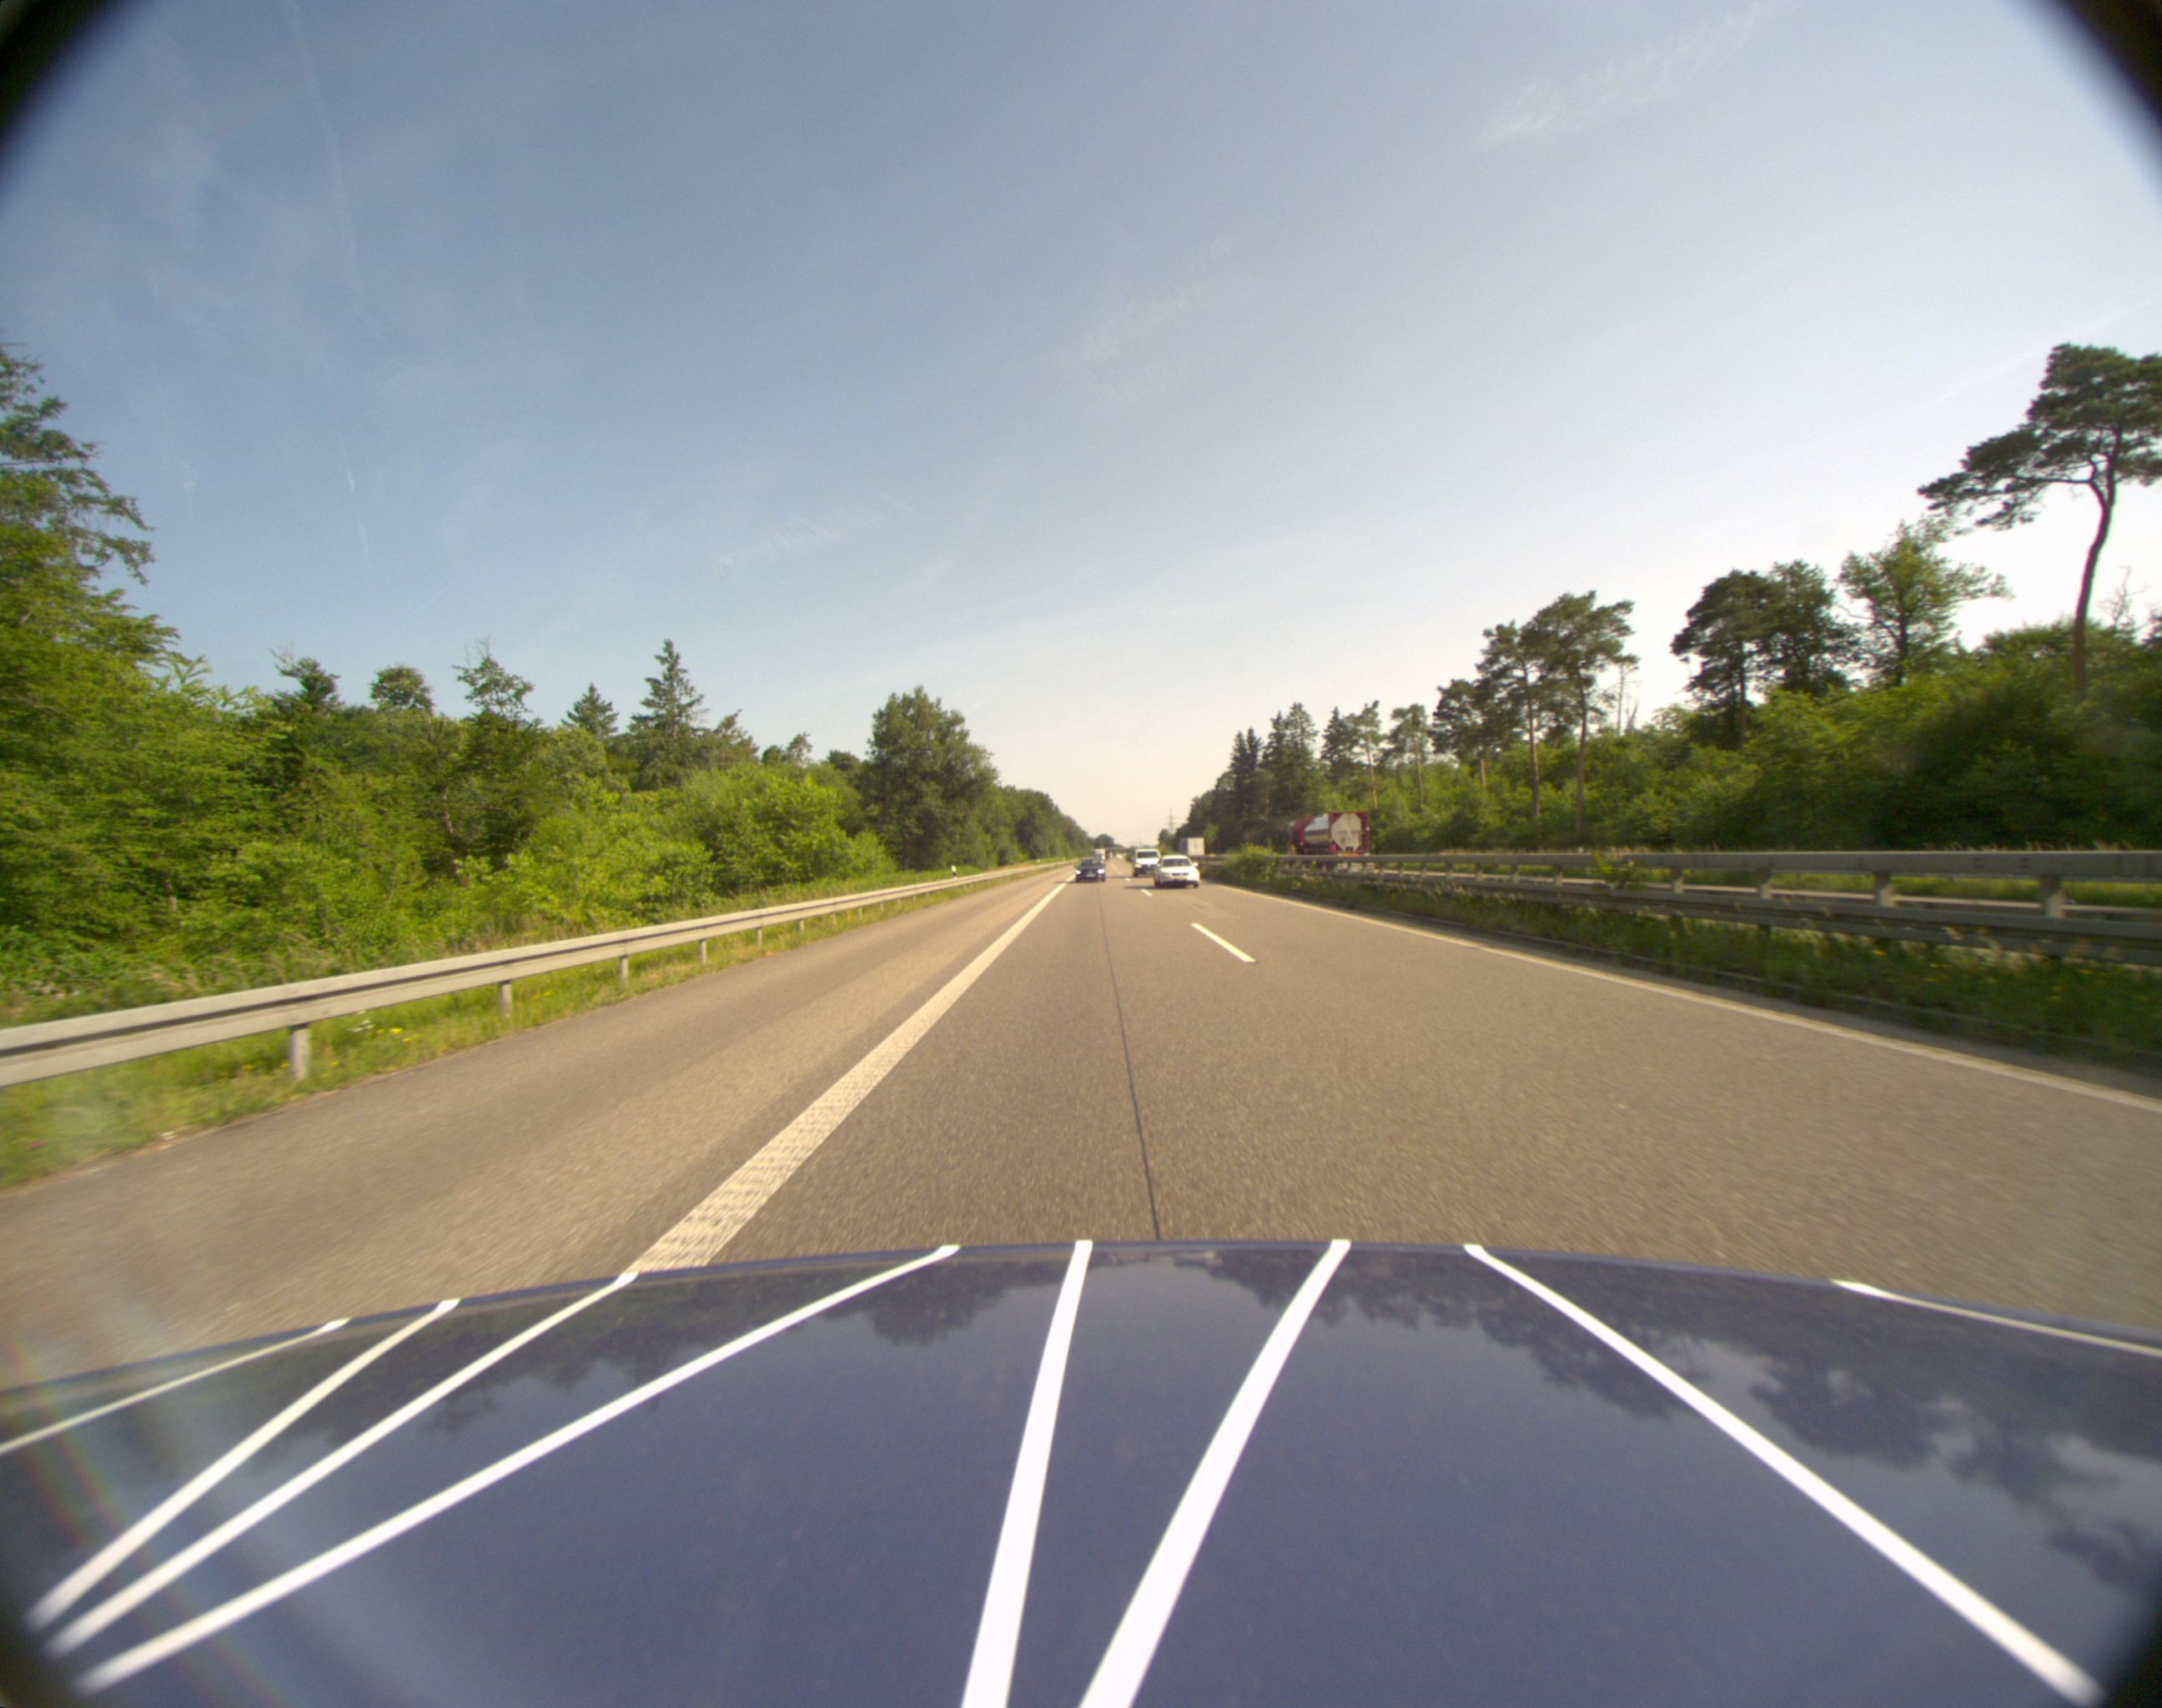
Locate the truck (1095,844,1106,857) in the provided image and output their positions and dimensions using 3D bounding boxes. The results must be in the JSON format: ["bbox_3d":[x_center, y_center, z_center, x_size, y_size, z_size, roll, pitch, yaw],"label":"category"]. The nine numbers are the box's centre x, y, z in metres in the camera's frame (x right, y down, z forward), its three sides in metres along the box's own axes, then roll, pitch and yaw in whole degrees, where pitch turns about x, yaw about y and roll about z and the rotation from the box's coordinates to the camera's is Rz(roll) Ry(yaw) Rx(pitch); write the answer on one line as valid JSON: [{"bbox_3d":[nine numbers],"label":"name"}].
[{"bbox_3d":[4.759,-0.821,186.385,2.694,3.020,10.372,-2,0,1],"label":"truck"}]

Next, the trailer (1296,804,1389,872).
[{"bbox_3d":[17.278,-1.035,50.895,3.303,4.016,8.373,-2,1,1],"label":"trailer"}]

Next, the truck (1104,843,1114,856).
[{"bbox_3d":[8.816,-1.500,242.521,2.694,4.061,12.365,-2,0,1],"label":"truck"}]

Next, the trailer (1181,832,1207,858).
[{"bbox_3d":[19.075,-1.423,128.711,2.698,4.176,13.080,-1,0,1],"label":"trailer"}]

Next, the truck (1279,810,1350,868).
[{"bbox_3d":[17.336,-1.103,56.885,3.275,4.016,6.232,-2,1,0],"label":"truck"}]

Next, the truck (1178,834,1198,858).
[{"bbox_3d":[19.251,-1.448,136.700,2.716,4.176,6.293,-1,0,1],"label":"truck"}]

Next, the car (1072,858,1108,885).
[{"bbox_3d":[0.524,0.910,40.531,1.788,1.285,3.539,-2,0,2],"label":"car"}]

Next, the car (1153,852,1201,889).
[{"bbox_3d":[4.367,0.710,35.229,1.754,1.477,5.264,-2,0,3],"label":"car"}]

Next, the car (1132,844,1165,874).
[{"bbox_3d":[4.711,0.330,53.569,1.912,1.934,4.706,-2,0,0],"label":"car"}]
